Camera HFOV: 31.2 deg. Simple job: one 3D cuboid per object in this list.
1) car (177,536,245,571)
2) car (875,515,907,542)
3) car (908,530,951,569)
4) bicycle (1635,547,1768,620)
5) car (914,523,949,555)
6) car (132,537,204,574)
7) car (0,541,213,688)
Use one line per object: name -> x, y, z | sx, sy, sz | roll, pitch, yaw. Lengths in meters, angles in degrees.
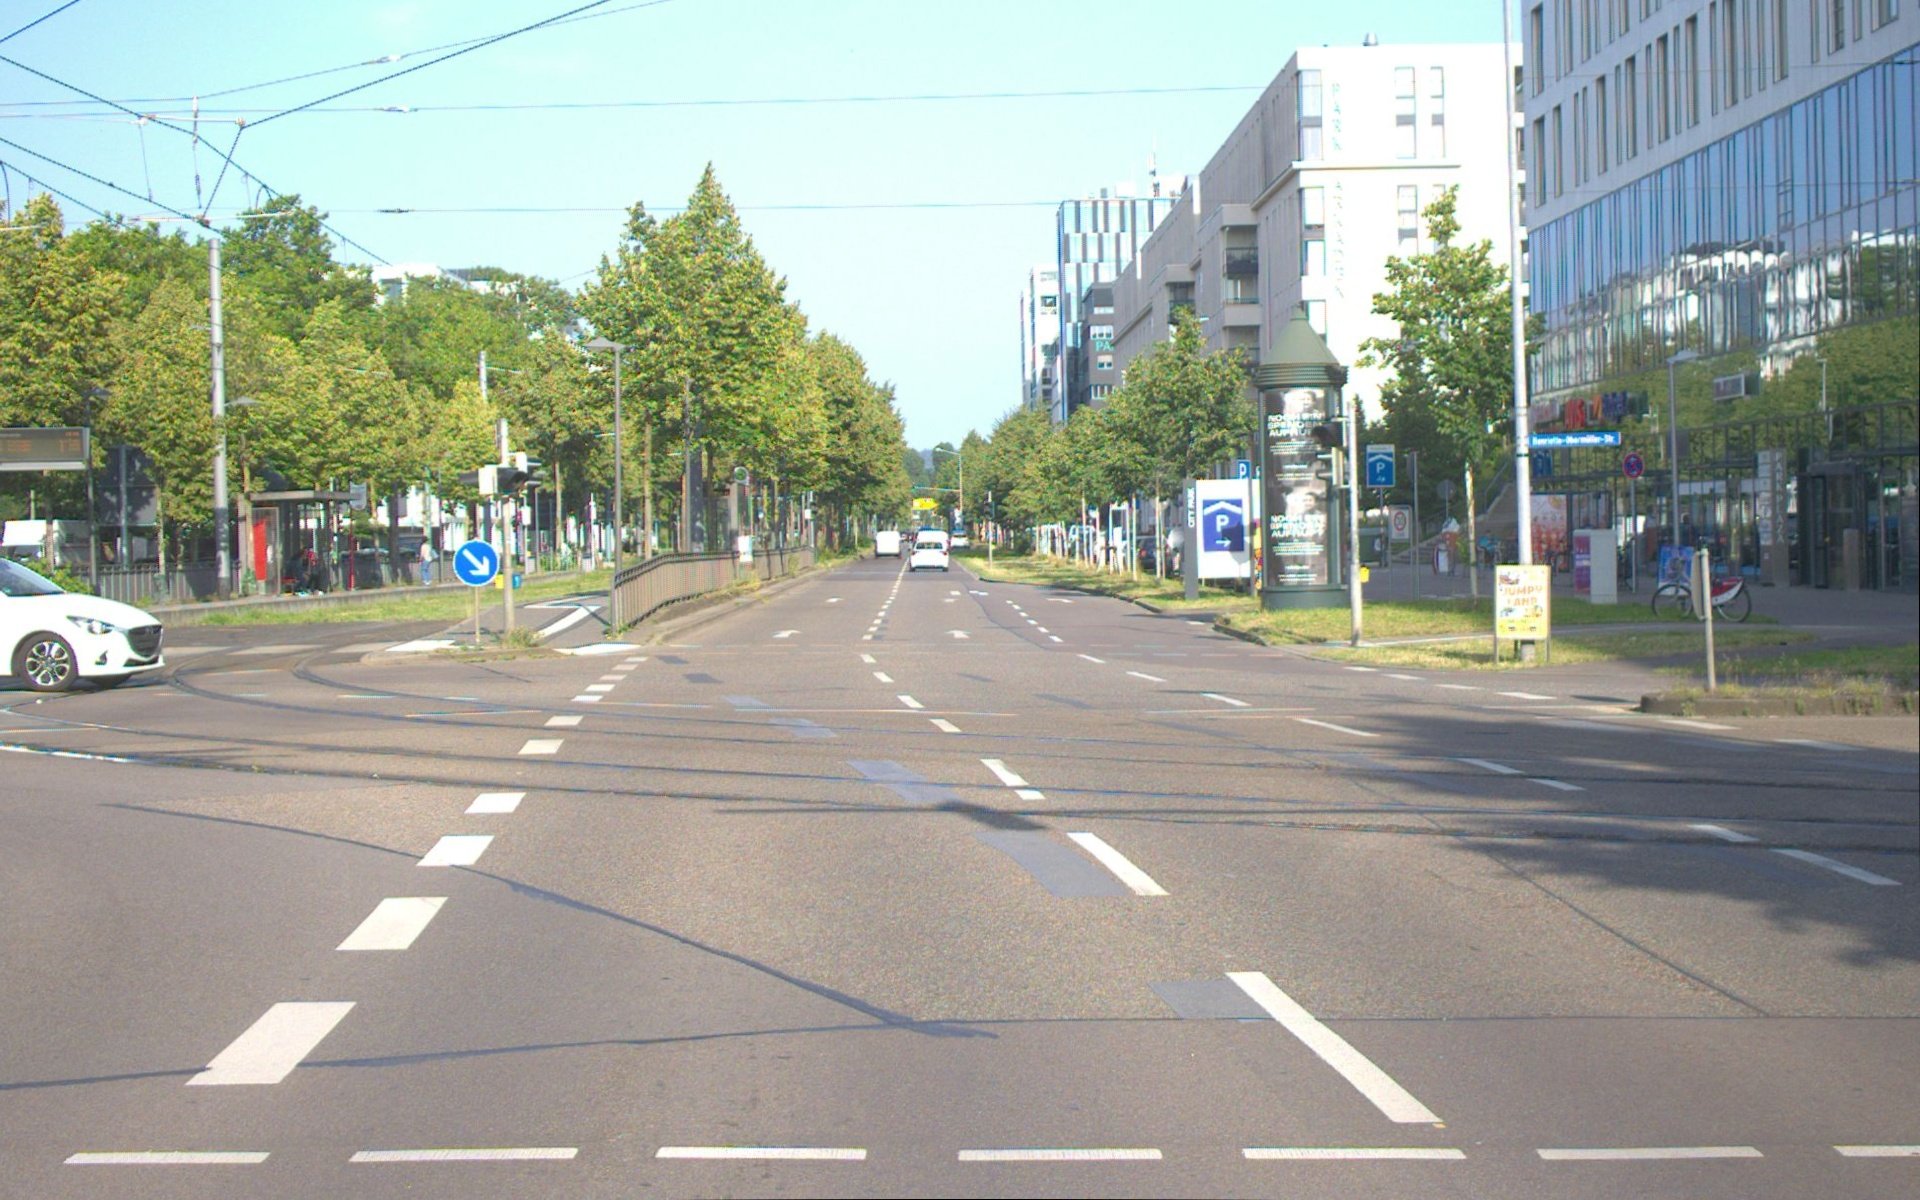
car -> -33.953, -2.123, 155.942 | 1.881, 1.554, 3.999 | -1, 1, 5
car -> -4.510, -4.727, 226.476 | 2.014, 1.678, 4.000 | 1, 2, 0
car -> -1.373, -2.258, 153.811 | 1.864, 1.678, 4.000 | 1, 2, 0
bicycle -> 11.417, -0.264, 52.990 | 0.771, 1.028, 1.878 | -2, 4, -44
car -> -1.540, -3.303, 186.779 | 1.864, 1.678, 4.000 | 1, 2, 0
car -> -34.426, -1.951, 149.519 | 1.881, 1.554, 3.999 | -1, 1, 5
car -> -10.237, 0.128, 36.433 | 4.082, 1.499, 1.999 | 0, 1, 12
